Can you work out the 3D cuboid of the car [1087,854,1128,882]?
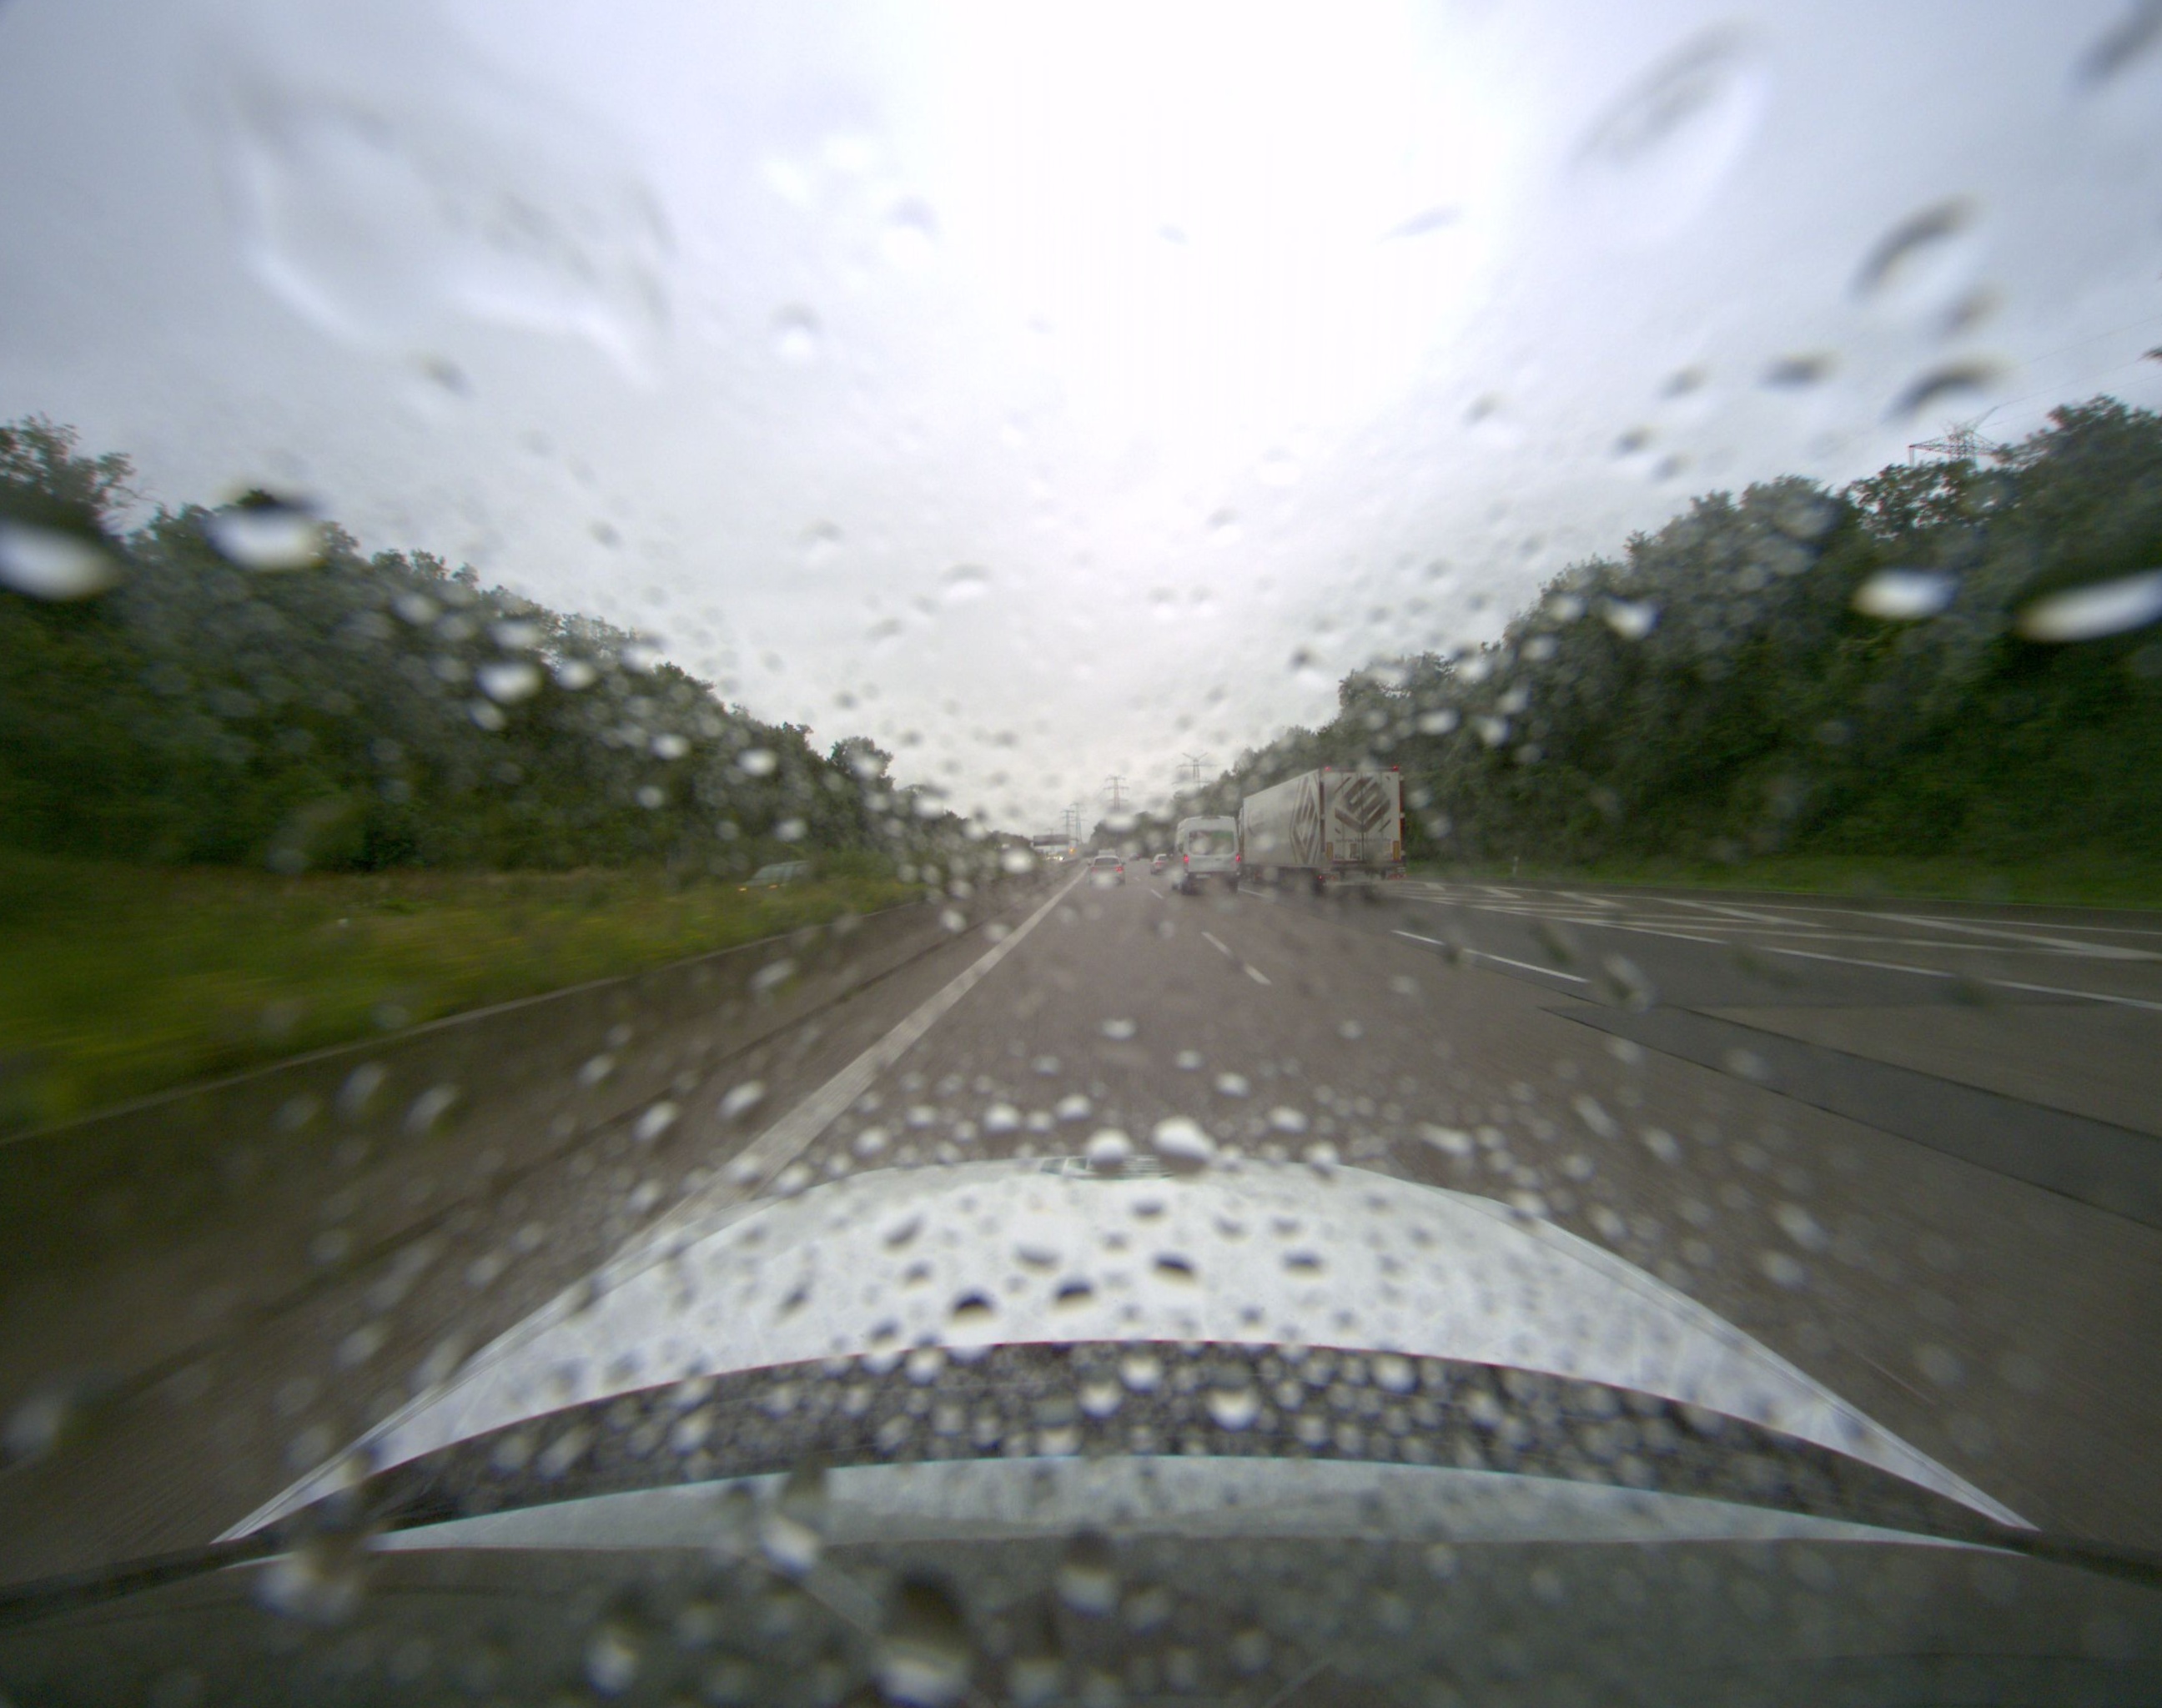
[{"bbox_3d":[1.338,0.671,40.852,1.859,1.288,4.002,-3,0,2],"label":"car"}]

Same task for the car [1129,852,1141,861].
[{"bbox_3d":[10.317,0.494,155.608,1.984,1.486,4.006,-4,-1,5],"label":"car"}]

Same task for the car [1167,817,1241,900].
[{"bbox_3d":[4.569,0.156,30.891,1.988,2.864,3.997,-2,0,-2],"label":"car"}]

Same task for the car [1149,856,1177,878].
[{"bbox_3d":[5.733,0.877,56.440,1.847,1.422,4.007,-2,0,6],"label":"car"}]

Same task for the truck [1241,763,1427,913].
[{"bbox_3d":[8.812,-0.393,30.805,3.587,4.332,13.212,-2,-1,4],"label":"truck"}]

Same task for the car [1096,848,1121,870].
[{"bbox_3d":[2.416,0.407,70.645,1.837,1.772,4.006,-3,0,6],"label":"car"}]

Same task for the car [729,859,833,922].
[{"bbox_3d":[-10.805,1.243,29.764,1.987,2.013,4.749,-2,0,0],"label":"car"}]

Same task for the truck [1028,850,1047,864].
[{"bbox_3d":[-12.390,0.722,232.682,4.043,3.747,16.872,-2,0,1],"label":"truck"}]
